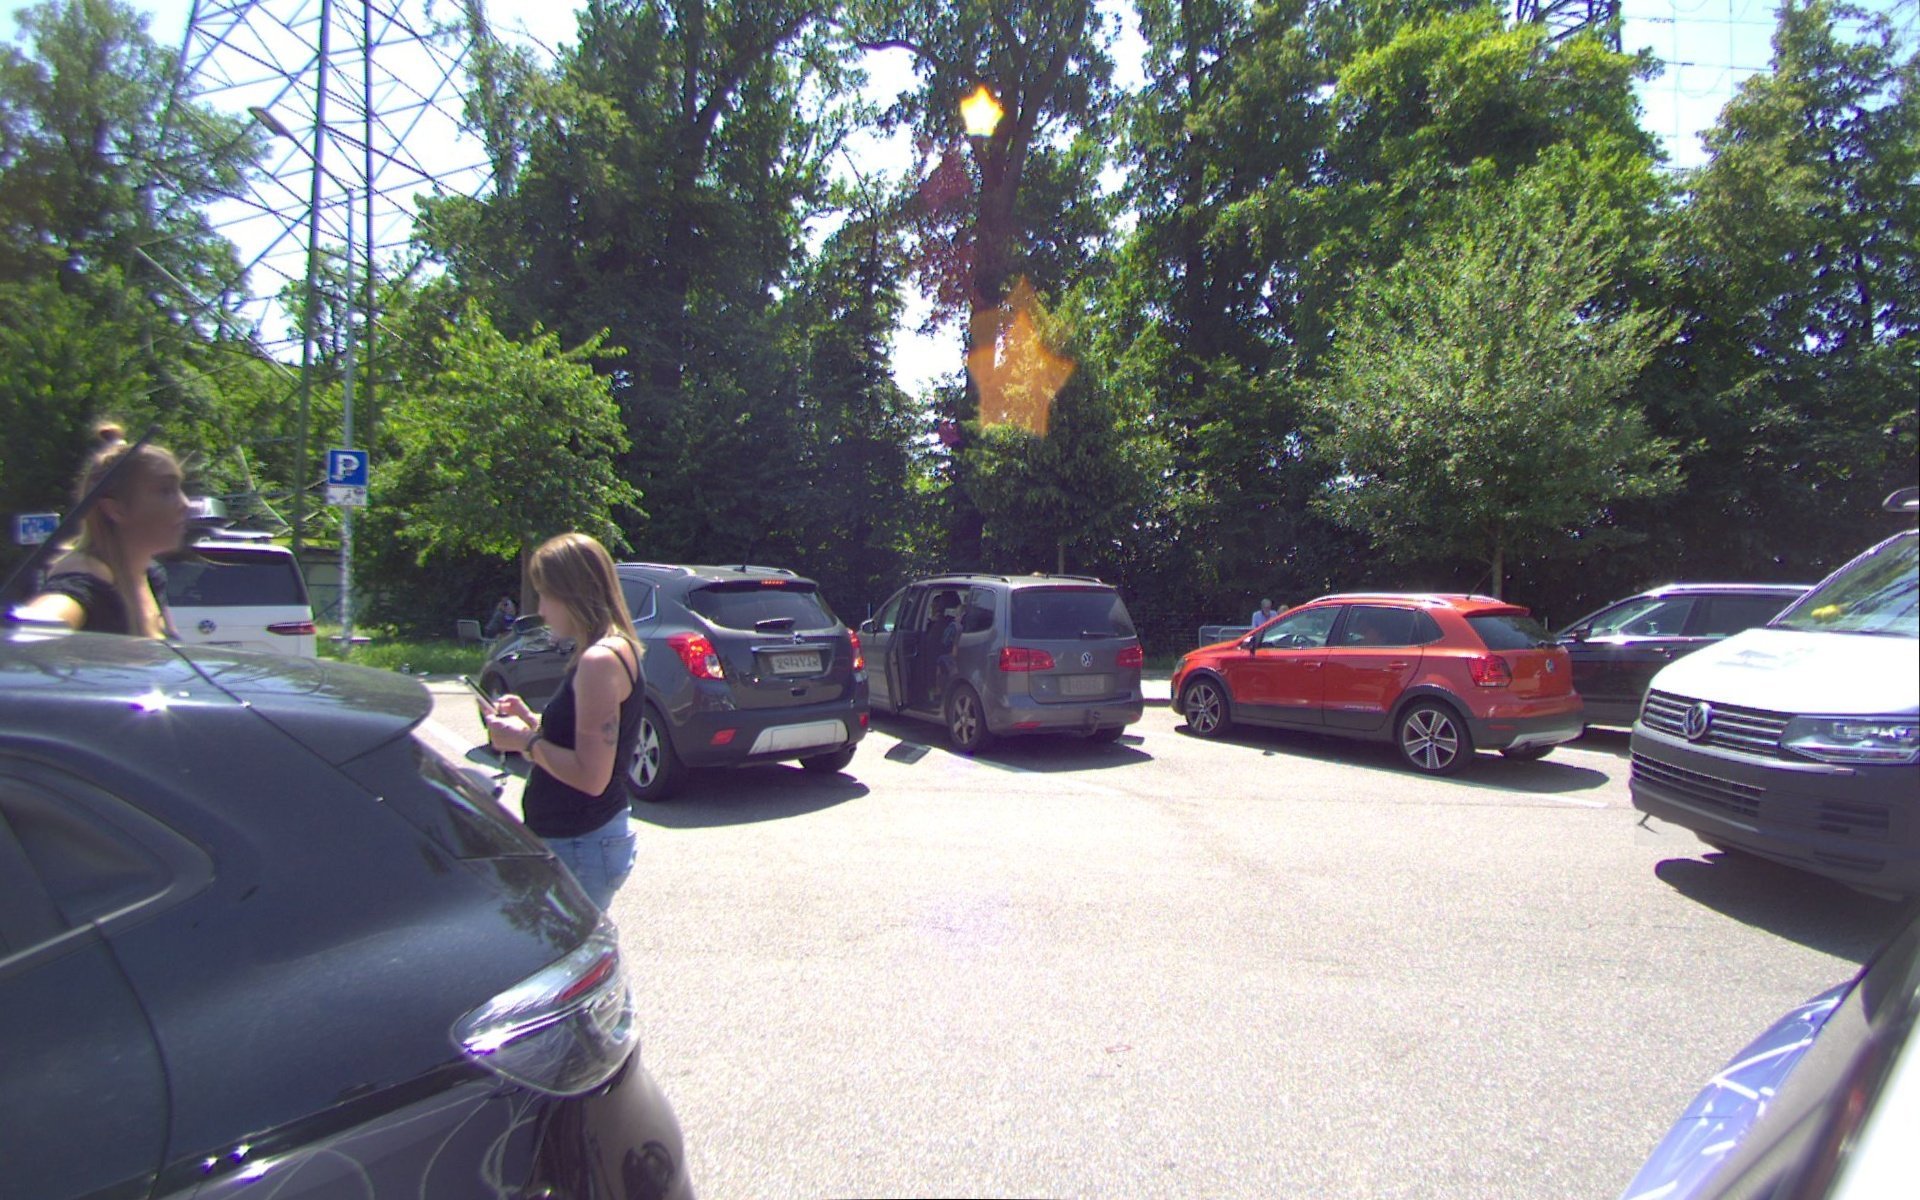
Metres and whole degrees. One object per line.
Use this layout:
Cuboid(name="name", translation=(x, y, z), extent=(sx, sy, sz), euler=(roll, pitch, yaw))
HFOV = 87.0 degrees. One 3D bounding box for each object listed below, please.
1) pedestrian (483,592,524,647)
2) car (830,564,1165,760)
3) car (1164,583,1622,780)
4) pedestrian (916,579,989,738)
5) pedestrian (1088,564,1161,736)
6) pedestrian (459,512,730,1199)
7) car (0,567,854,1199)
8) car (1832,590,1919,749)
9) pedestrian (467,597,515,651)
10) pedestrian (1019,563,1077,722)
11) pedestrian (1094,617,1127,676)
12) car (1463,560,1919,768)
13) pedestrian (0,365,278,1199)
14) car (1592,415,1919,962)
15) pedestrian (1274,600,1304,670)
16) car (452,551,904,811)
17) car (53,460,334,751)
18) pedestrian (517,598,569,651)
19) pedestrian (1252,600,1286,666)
Cuboid(name="pedestrian", translation=(-11.041, 0.459, 24.489), extent=(0.539, 1.318, 0.758), euler=(0, 0, 37))
Cuboid(name="car", translation=(0.180, 0.507, 10.567), extent=(1.670, 1.637, 3.912), euler=(0, 0, -30))
Cuboid(name="car", translation=(3.874, 0.613, 9.632), extent=(1.588, 1.485, 3.751), euler=(1, 0, -34))
Cuboid(name="pedestrian", translation=(-0.075, 0.555, 10.037), extent=(0.511, 1.516, 0.560), euler=(0, 0, -30))
Cuboid(name="pedestrian", translation=(1.711, 0.500, 10.554), extent=(0.576, 1.744, 0.483), euler=(0, 0, -20))
Cuboid(name="pedestrian", translation=(-0.943, 0.609, 2.608), extent=(0.477, 1.614, 0.502), euler=(1, -1, -44))
Cuboid(name="car", translation=(-2.028, 0.718, 0.802), extent=(1.775, 1.476, 3.629), euler=(0, 0, 43))
Cuboid(name="car", translation=(10.345, 0.660, 8.894), extent=(1.813, 1.473, 3.776), euler=(1, 0, -36))
Cuboid(name="pedestrian", translation=(-10.512, 0.517, 22.683), extent=(0.785, 1.178, 0.696), euler=(0, 0, 39))
Cuboid(name="pedestrian", translation=(0.989, 0.458, 11.390), extent=(0.500, 1.744, 0.438), euler=(0, 0, -24))
Cuboid(name="pedestrian", translation=(2.348, 0.724, 15.795), extent=(0.494, 0.890, 0.512), euler=(0, 0, 10))
Cuboid(name="car", translation=(7.196, 0.504, 9.767), extent=(1.679, 1.637, 3.863), euler=(1, 0, -40))
Cuboid(name="pedestrian", translation=(-1.954, 0.487, 2.426), extent=(0.478, 1.883, 0.913), euler=(1, -1, -33))
Cuboid(name="car", translation=(6.245, 0.364, 4.680), extent=(5.336, 2.131, 1.842), euler=(1, 1, 4))
Cuboid(name="pedestrian", translation=(5.844, 0.614, 18.000), extent=(0.348, 1.207, 0.367), euler=(0, 0, -20))
Cuboid(name="car", translation=(-2.541, 0.500, 8.493), extent=(4.154, 1.637, 1.809), euler=(1, 0, 44))
Cuboid(name="car", translation=(-8.360, 0.040, 10.828), extent=(1.897, 2.400, 4.963), euler=(1, -1, -43))
Cuboid(name="pedestrian", translation=(-9.739, 0.553, 23.648), extent=(0.810, 1.201, 0.836), euler=(0, 0, 40))
Cuboid(name="pedestrian", translation=(5.807, 0.606, 19.029), extent=(0.433, 1.207, 0.414), euler=(0, 0, -30))
